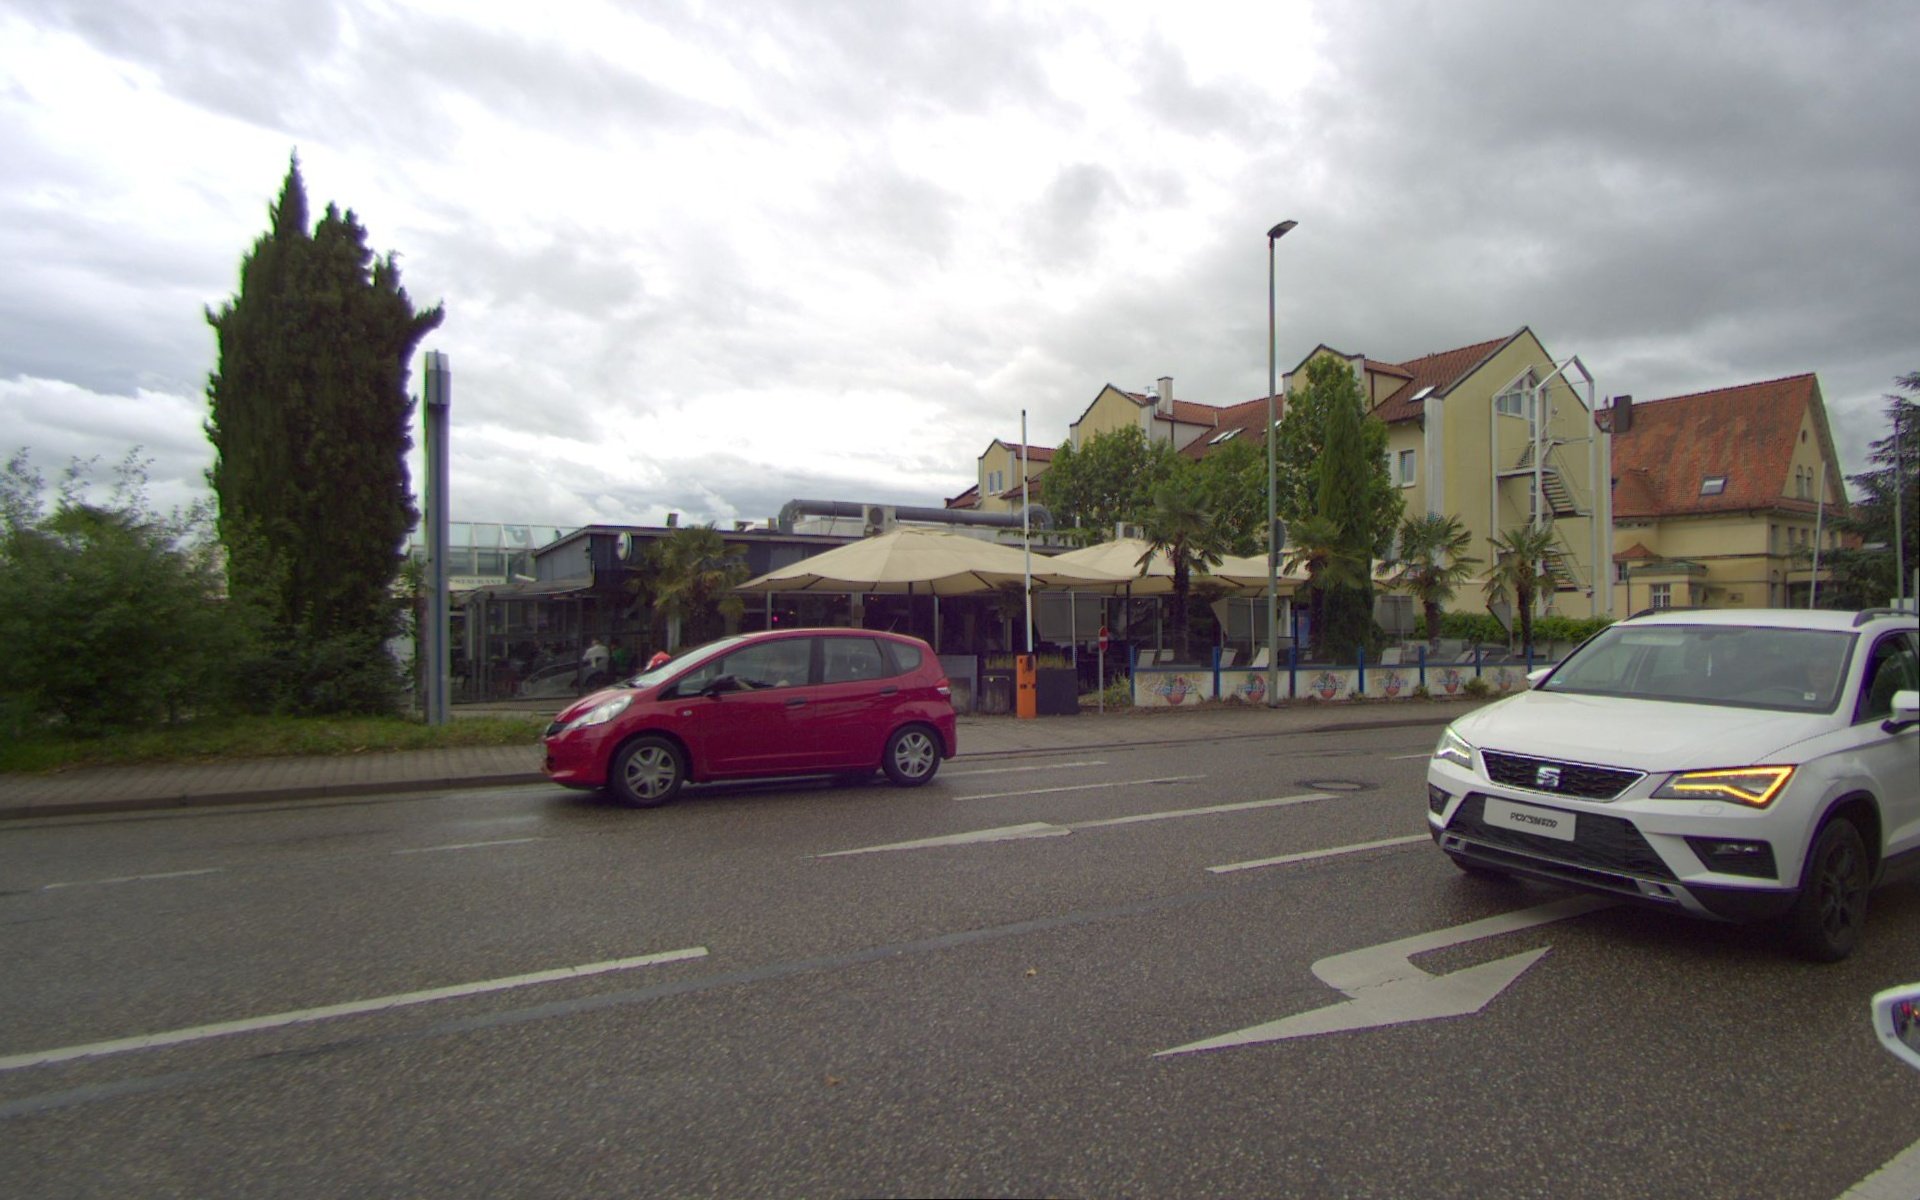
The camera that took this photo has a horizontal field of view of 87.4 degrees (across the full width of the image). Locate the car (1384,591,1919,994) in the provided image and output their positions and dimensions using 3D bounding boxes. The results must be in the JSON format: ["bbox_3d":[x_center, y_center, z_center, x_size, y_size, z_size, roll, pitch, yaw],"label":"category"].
[{"bbox_3d":[4.567,0.829,5.878,4.192,1.602,1.777,2,-1,-32],"label":"car"}]

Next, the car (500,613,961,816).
[{"bbox_3d":[-2.086,0.961,9.430,3.925,1.553,1.630,1,-3,-30],"label":"car"}]

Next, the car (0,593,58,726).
[{"bbox_3d":[-12.822,0.730,12.138,4.298,1.482,1.993,-3,-6,37],"label":"car"}]
